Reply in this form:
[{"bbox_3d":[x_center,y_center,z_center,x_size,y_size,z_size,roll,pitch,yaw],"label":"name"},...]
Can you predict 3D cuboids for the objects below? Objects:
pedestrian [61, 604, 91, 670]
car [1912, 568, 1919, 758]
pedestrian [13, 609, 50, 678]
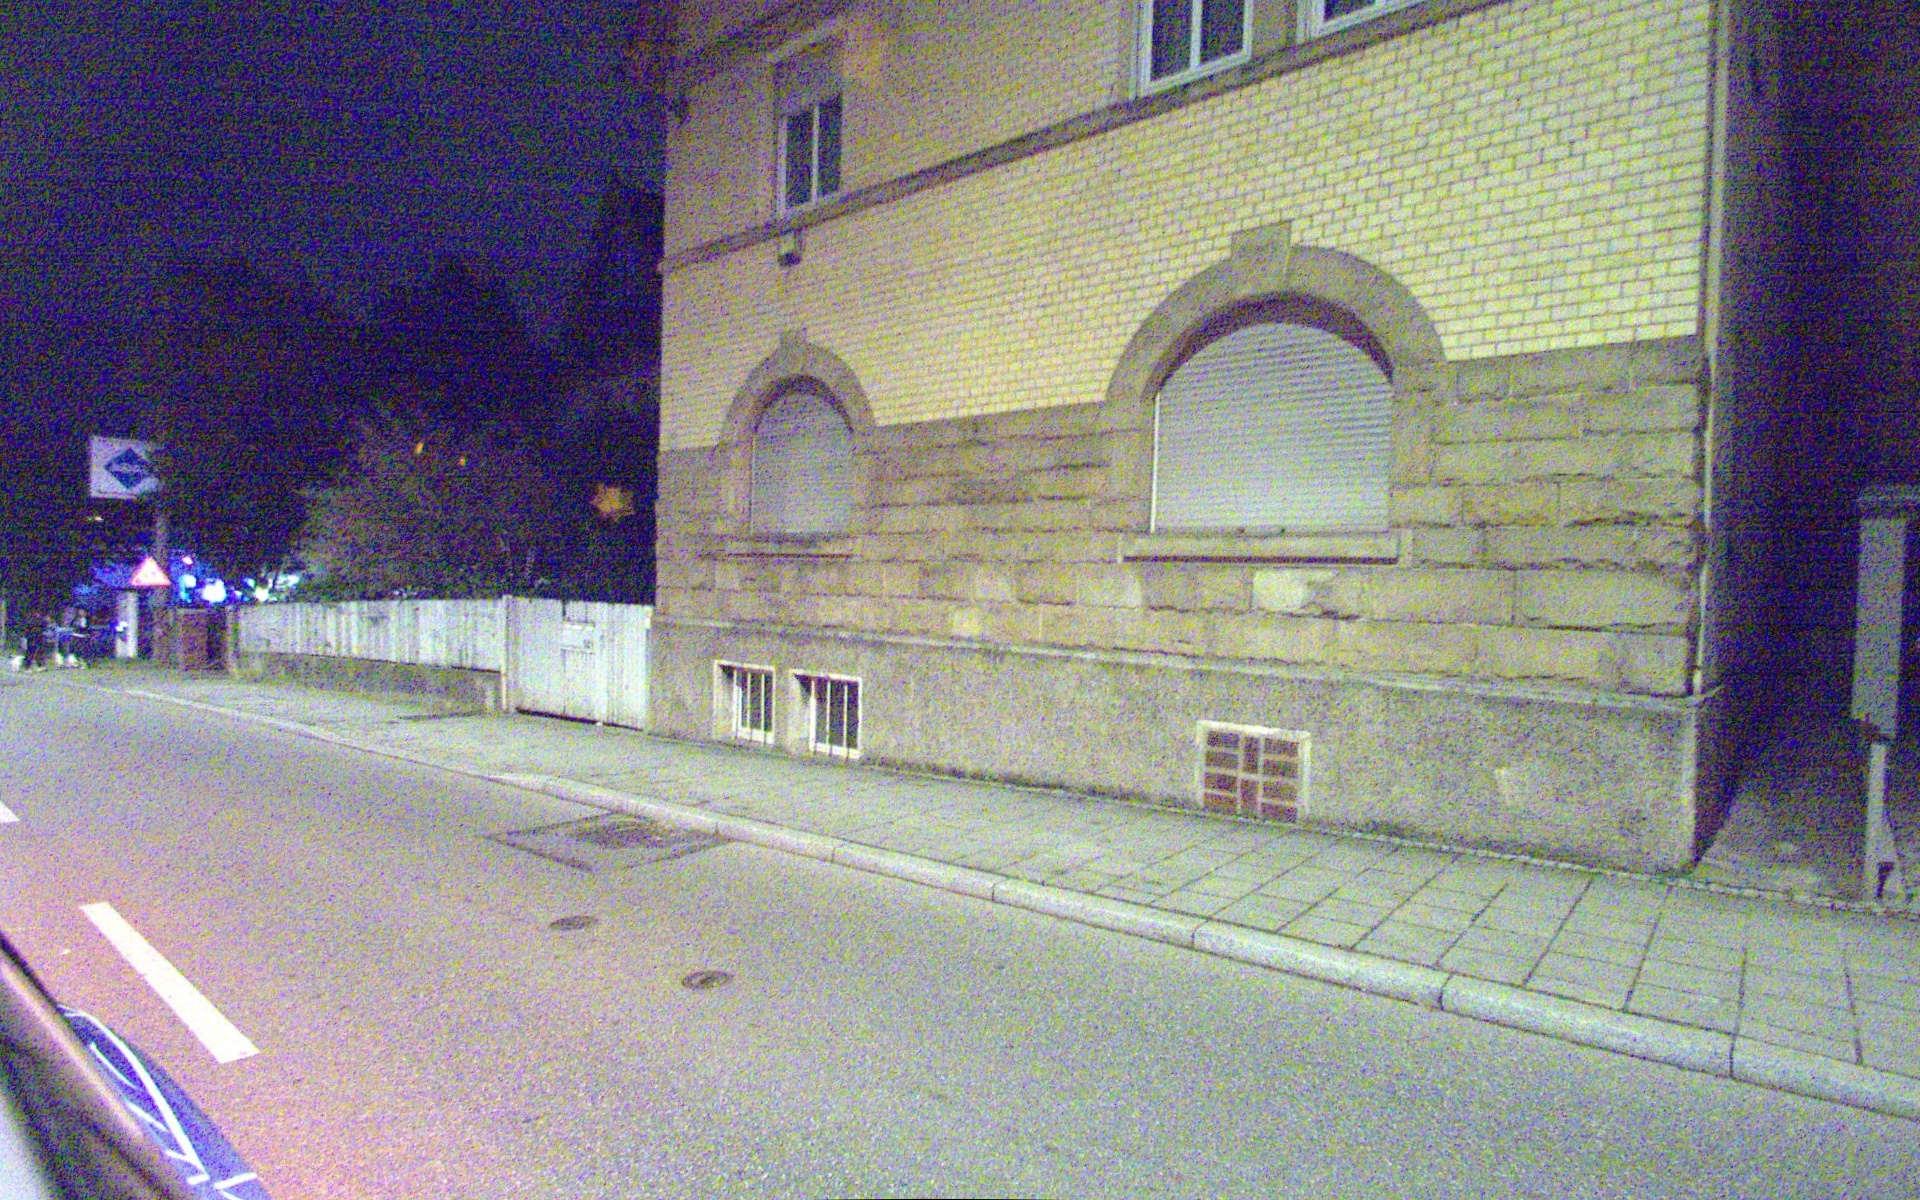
[{"bbox_3d":[-24.295,1.002,27.813,0.500,1.773,0.557,-1,0,41],"label":"pedestrian"},{"bbox_3d":[7.199,0.533,6.233,1.718,1.452,3.612,-1,2,40],"label":"car"},{"bbox_3d":[-24.518,1.133,26.719,0.500,1.773,0.664,-1,0,41],"label":"pedestrian"}]
